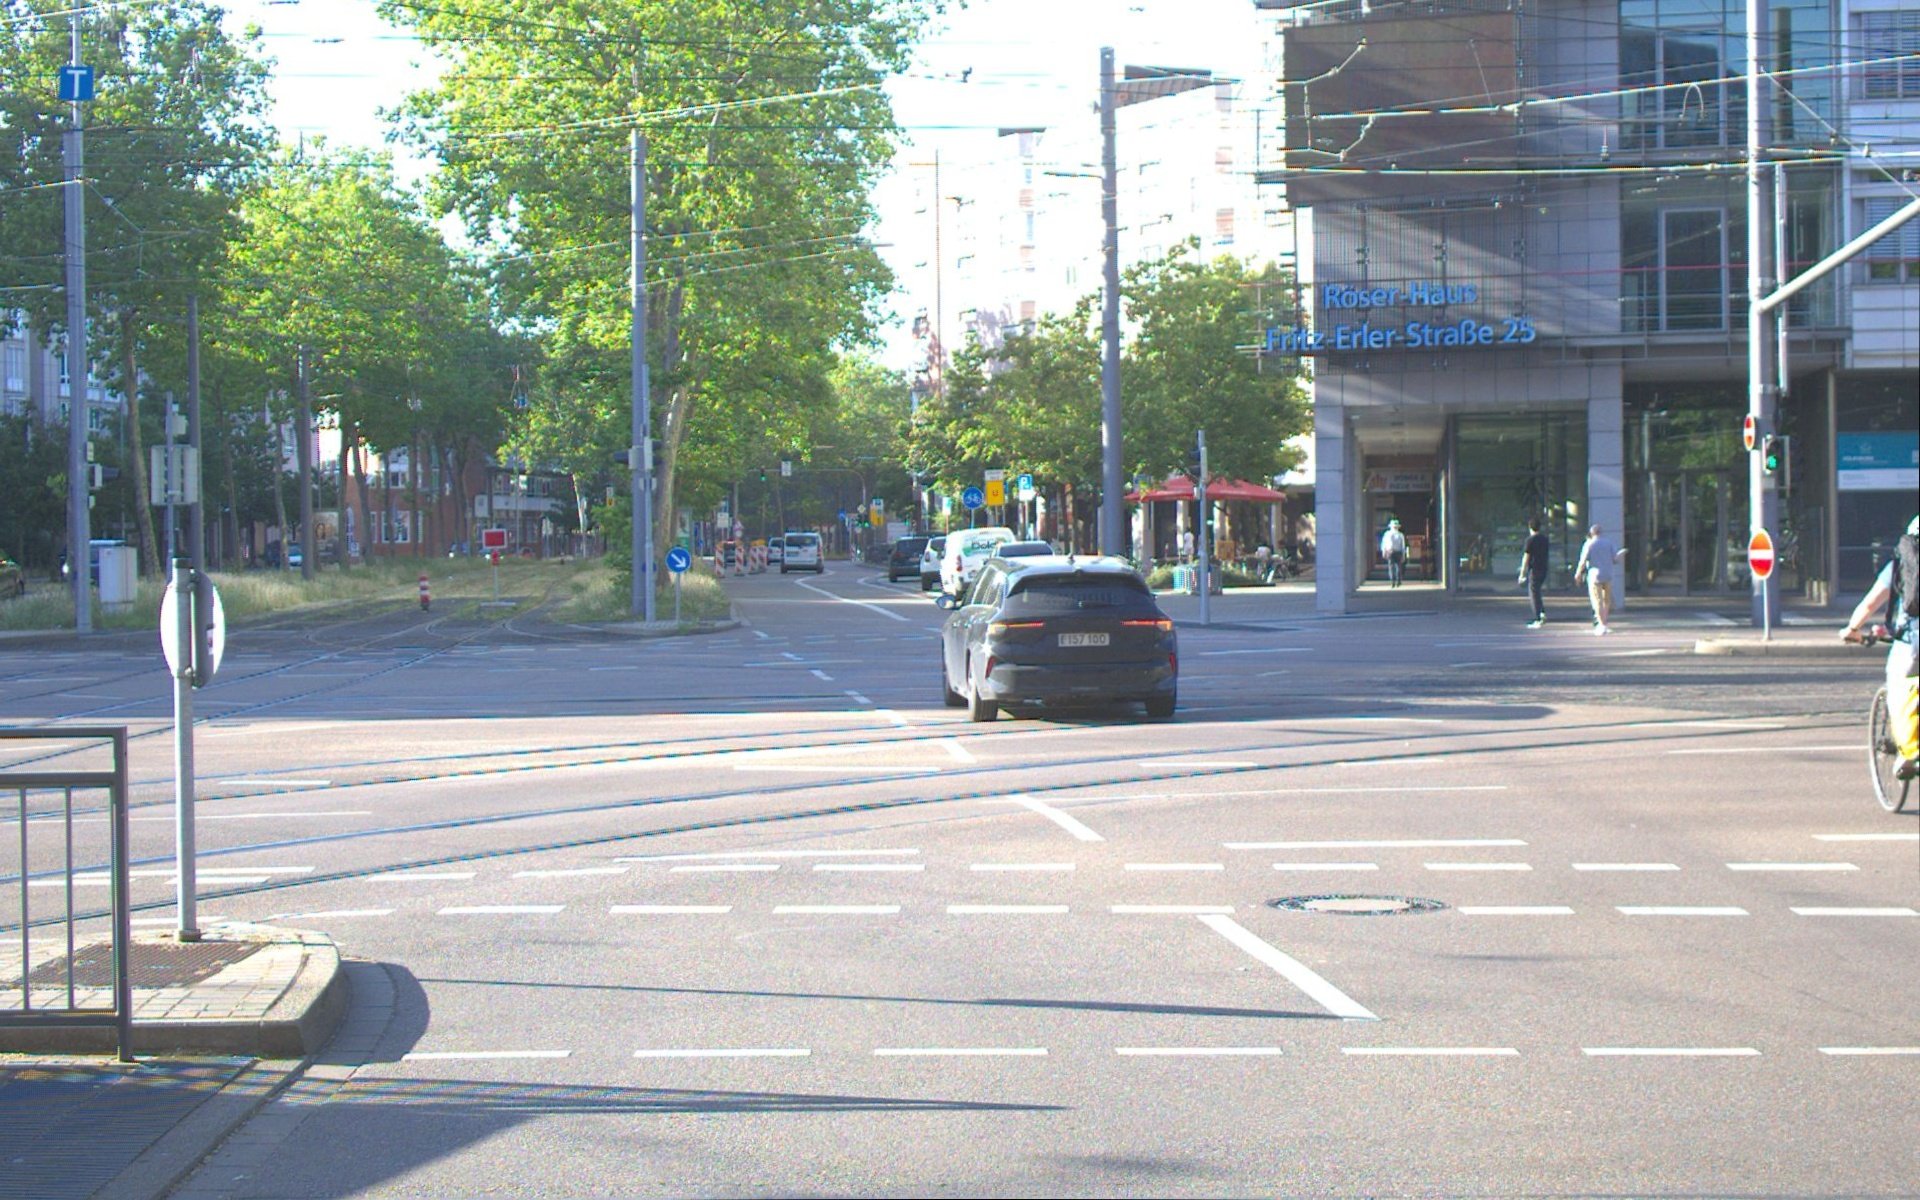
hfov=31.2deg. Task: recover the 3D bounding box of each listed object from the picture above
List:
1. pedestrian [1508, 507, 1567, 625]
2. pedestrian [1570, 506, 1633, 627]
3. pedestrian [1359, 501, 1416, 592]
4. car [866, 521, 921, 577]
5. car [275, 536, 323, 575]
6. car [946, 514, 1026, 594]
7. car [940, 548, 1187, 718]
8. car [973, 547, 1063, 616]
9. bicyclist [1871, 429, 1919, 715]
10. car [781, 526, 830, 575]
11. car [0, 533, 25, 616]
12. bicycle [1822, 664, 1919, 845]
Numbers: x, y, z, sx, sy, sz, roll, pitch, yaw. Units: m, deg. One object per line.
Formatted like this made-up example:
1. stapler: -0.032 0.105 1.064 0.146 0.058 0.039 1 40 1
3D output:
1. pedestrian: 9.930 -0.579 59.123 0.849 2.007 0.708 1 0 -1
2. pedestrian: 10.699 -0.560 57.392 0.869 2.007 0.794 1 0 -1
3. pedestrian: 10.397 -1.289 83.585 1.313 2.182 1.170 1 0 6
4. car: -2.435 -1.867 126.678 1.993 2.007 4.000 1 1 -1
5. car: -28.114 -1.905 146.280 1.676 1.601 4.001 1 1 -6
6. car: 0.649 -1.203 89.637 1.993 2.007 4.000 1 1 -1
7. car: 0.848 0.243 30.796 1.763 1.399 4.297 0 1 -4
8. car: 1.371 -0.453 82.794 2.029 1.590 4.000 1 1 -1
9. bicyclist: 5.009 -0.140 17.594 0.486 1.434 0.615 1 1 -1
10. car: -7.039 -2.237 156.799 1.993 2.007 3.999 1 -2 1
11. car: -21.632 -0.548 74.895 1.822 1.784 4.001 -1 1 -7
12. bicycle: 4.972 0.780 17.850 0.490 0.785 1.862 0 2 -1
